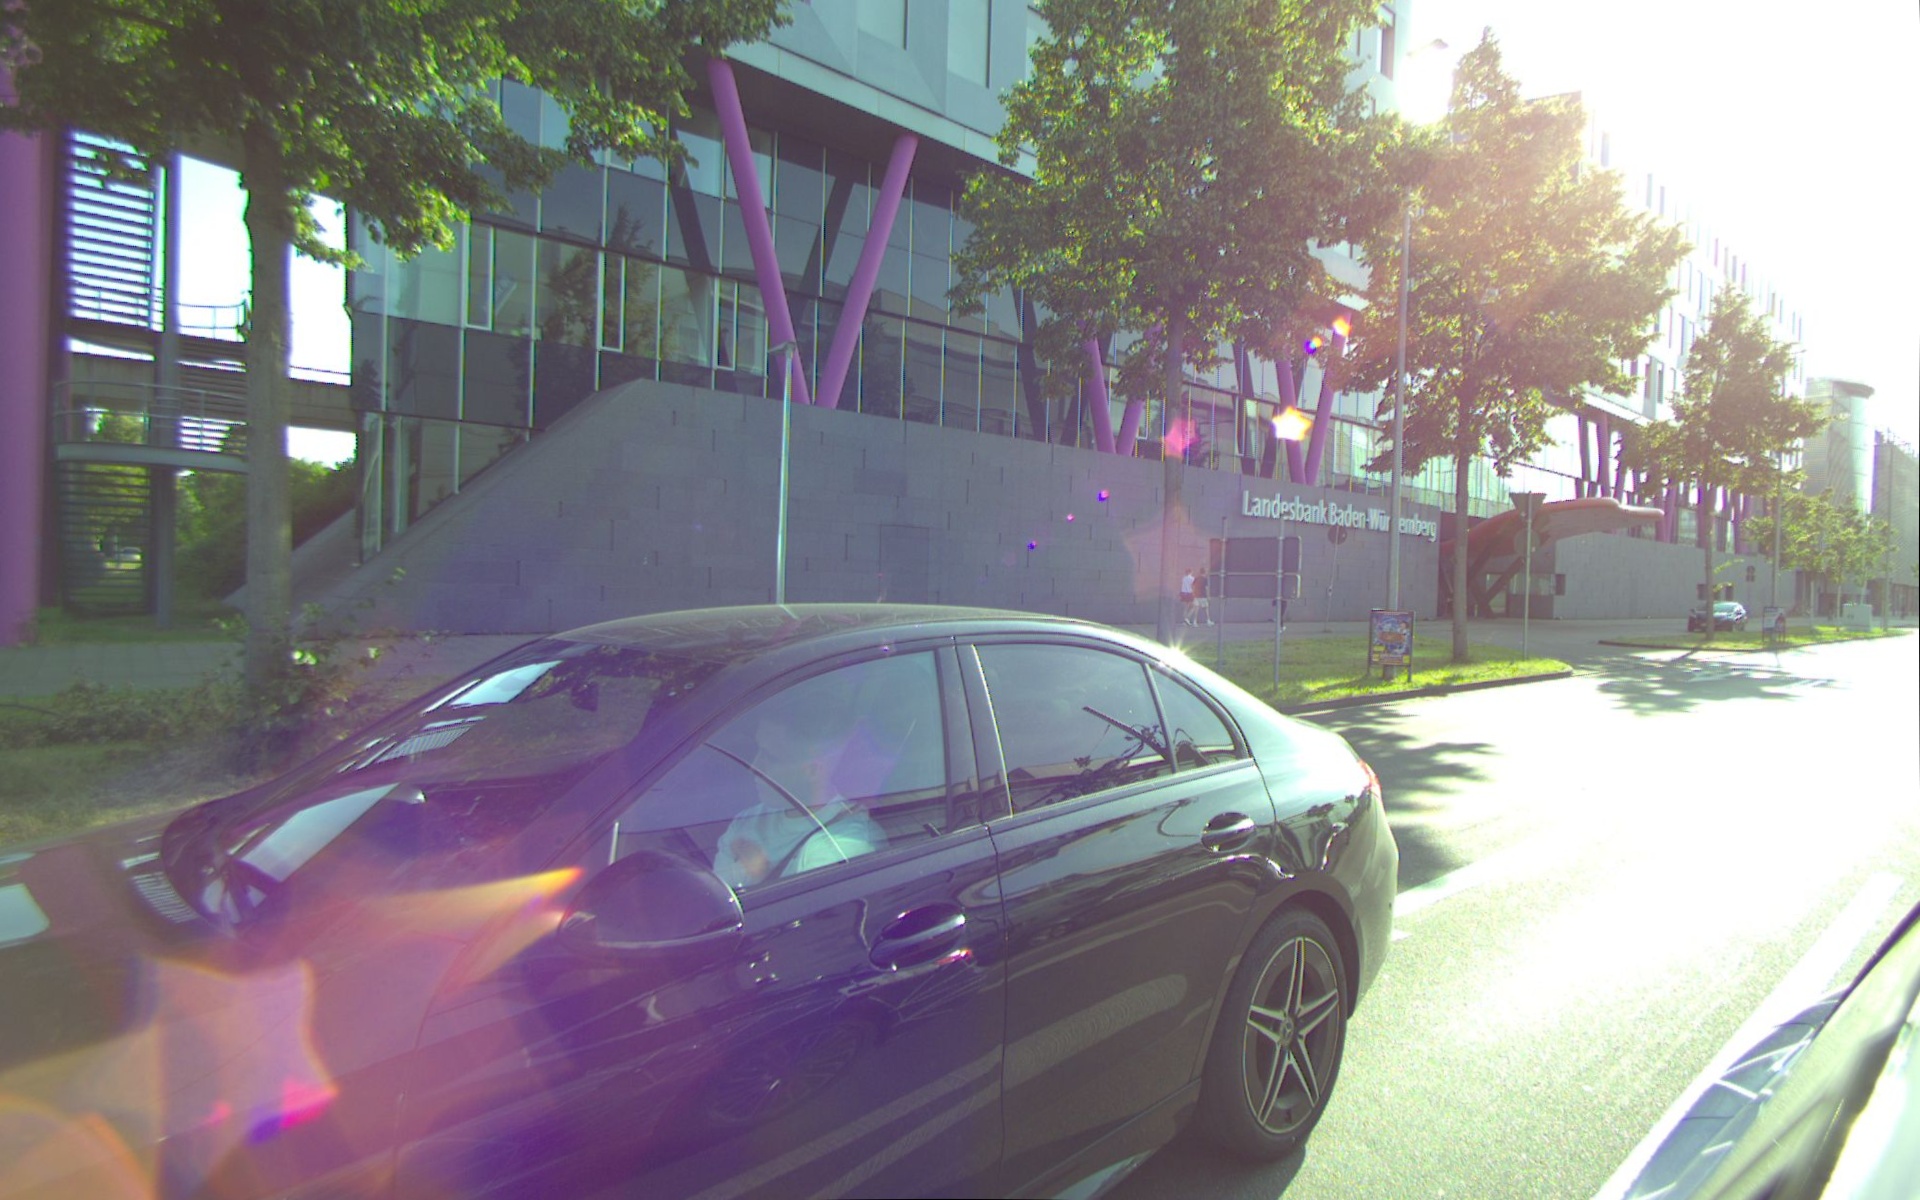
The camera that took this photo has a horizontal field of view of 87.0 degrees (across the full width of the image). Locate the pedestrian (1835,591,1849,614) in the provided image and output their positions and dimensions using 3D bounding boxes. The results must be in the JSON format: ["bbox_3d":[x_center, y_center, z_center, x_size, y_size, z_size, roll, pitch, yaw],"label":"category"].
[{"bbox_3d":[69.749,0.220,80.043,0.758,1.808,0.725,0,1,-41],"label":"pedestrian"}]

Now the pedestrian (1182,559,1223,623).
[{"bbox_3d":[7.171,-0.272,29.965,0.829,1.815,0.756,1,3,-41],"label":"pedestrian"}]

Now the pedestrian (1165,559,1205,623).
[{"bbox_3d":[6.754,-0.275,30.379,0.838,1.847,0.769,1,3,-41],"label":"pedestrian"}]

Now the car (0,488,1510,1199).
[{"bbox_3d":[-0.597,0.622,2.488,4.473,1.468,1.843,1,0,-39],"label":"car"}]

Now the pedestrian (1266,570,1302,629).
[{"bbox_3d":[9.435,-0.036,29.468,0.724,1.658,0.695,-1,4,-41],"label":"pedestrian"}]

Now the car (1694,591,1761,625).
[{"bbox_3d":[34.831,0.369,45.896,4.126,1.407,1.694,1,1,-42],"label":"car"}]
